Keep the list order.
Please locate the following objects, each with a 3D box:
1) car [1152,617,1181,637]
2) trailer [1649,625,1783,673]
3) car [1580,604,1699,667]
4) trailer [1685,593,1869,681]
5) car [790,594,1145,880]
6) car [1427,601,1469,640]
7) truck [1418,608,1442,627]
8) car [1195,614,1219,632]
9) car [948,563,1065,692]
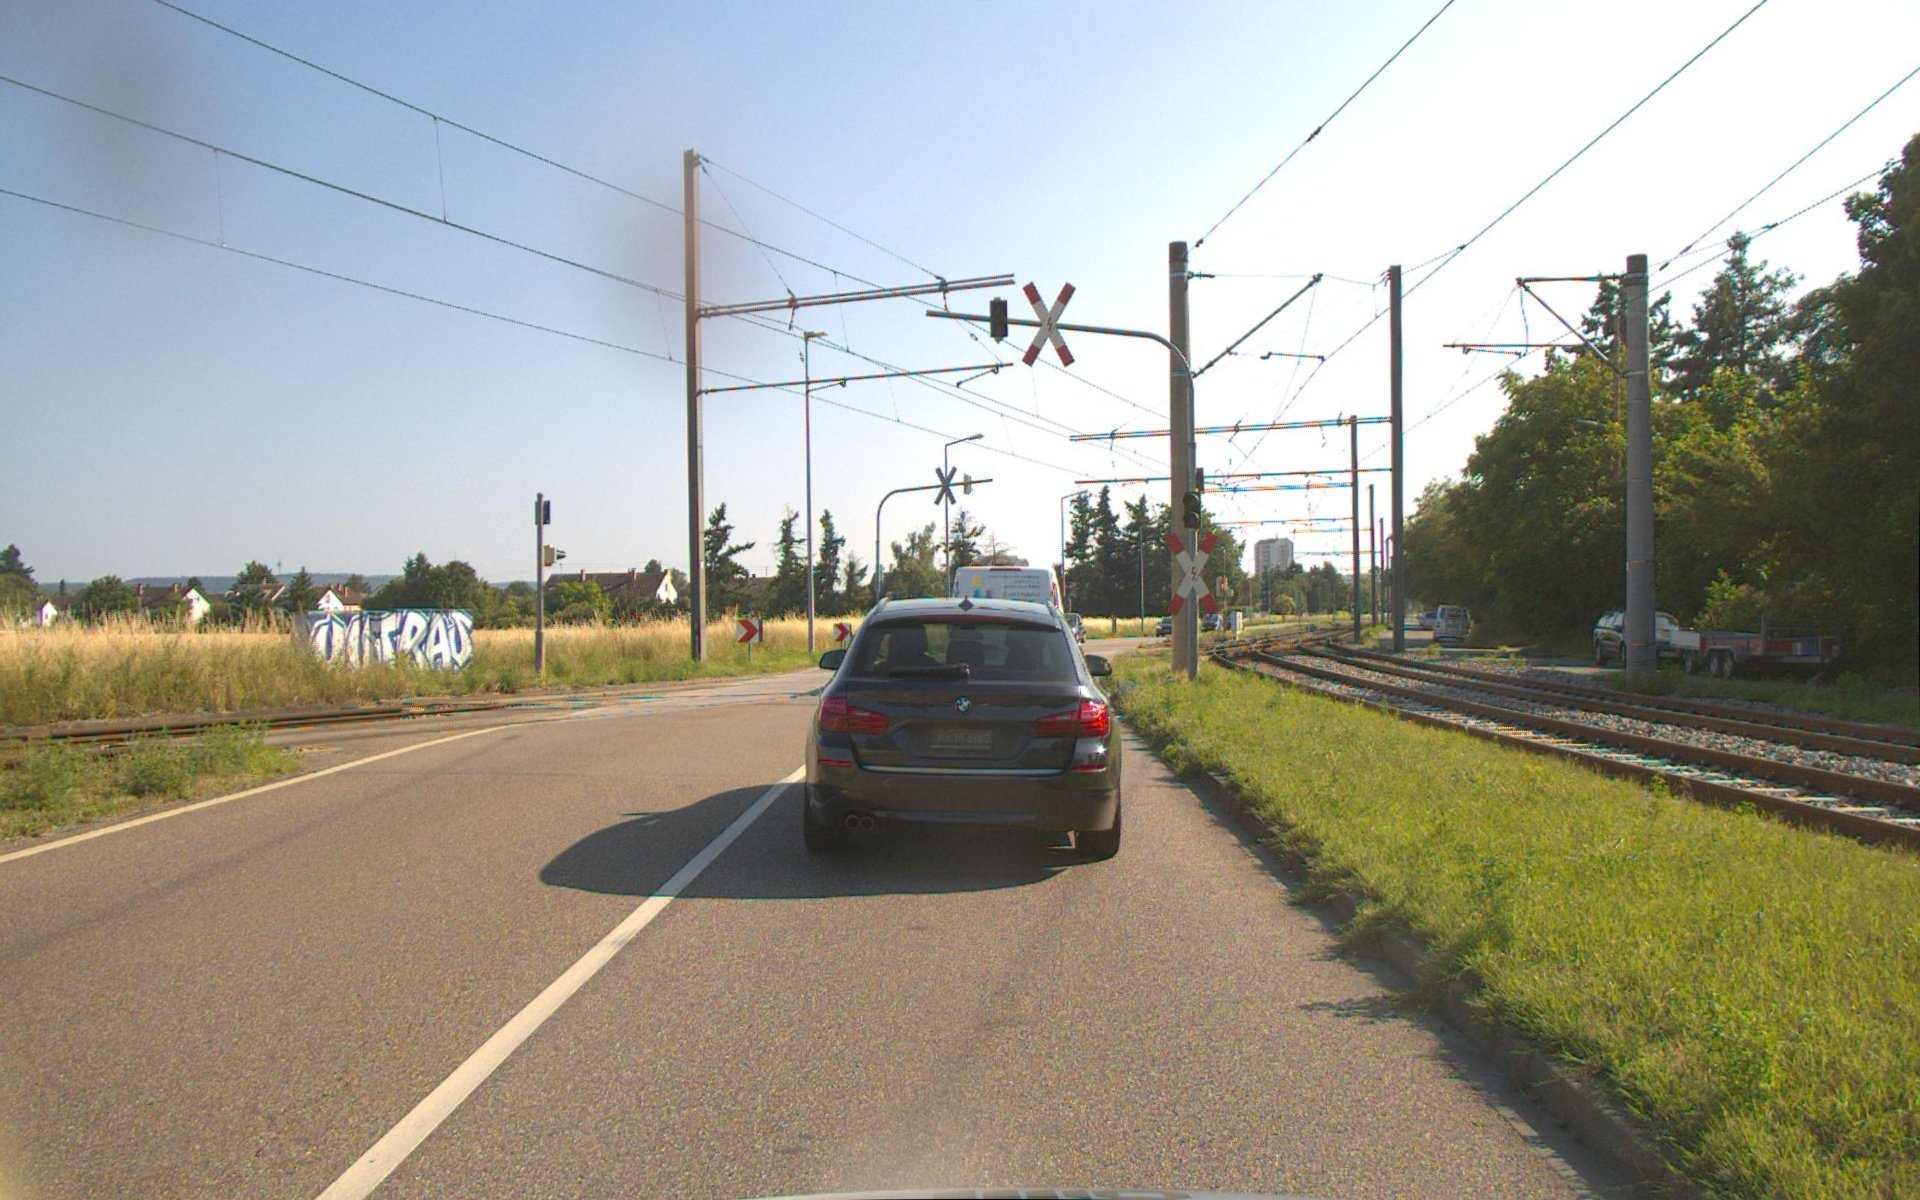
[{"bbox_3d":[15.520,2.004,124.187,1.657,1.465,4.287,0,0,15],"label":"car"},{"bbox_3d":[17.276,1.099,37.965,1.695,0.956,3.730,2,0,6],"label":"trailer"},{"bbox_3d":[17.473,0.872,42.741,1.662,1.482,4.884,2,0,8],"label":"car"},{"bbox_3d":[16.658,0.723,33.964,1.984,1.624,4.262,2,0,5],"label":"trailer"},{"bbox_3d":[0.019,0.701,10.919,1.831,1.478,4.743,0,0,-1],"label":"car"},{"bbox_3d":[26.736,1.121,90.797,1.951,2.039,5.071,2,0,14],"label":"car"},{"bbox_3d":[46.446,1.707,163.608,2.157,1.851,5.933,-1,-1,15],"label":"truck"},{"bbox_3d":[22.773,2.109,152.543,1.670,1.694,4.593,0,0,14],"label":"car"},{"bbox_3d":[0.889,0.442,28.480,1.818,2.023,5.110,0,0,4],"label":"car"}]
